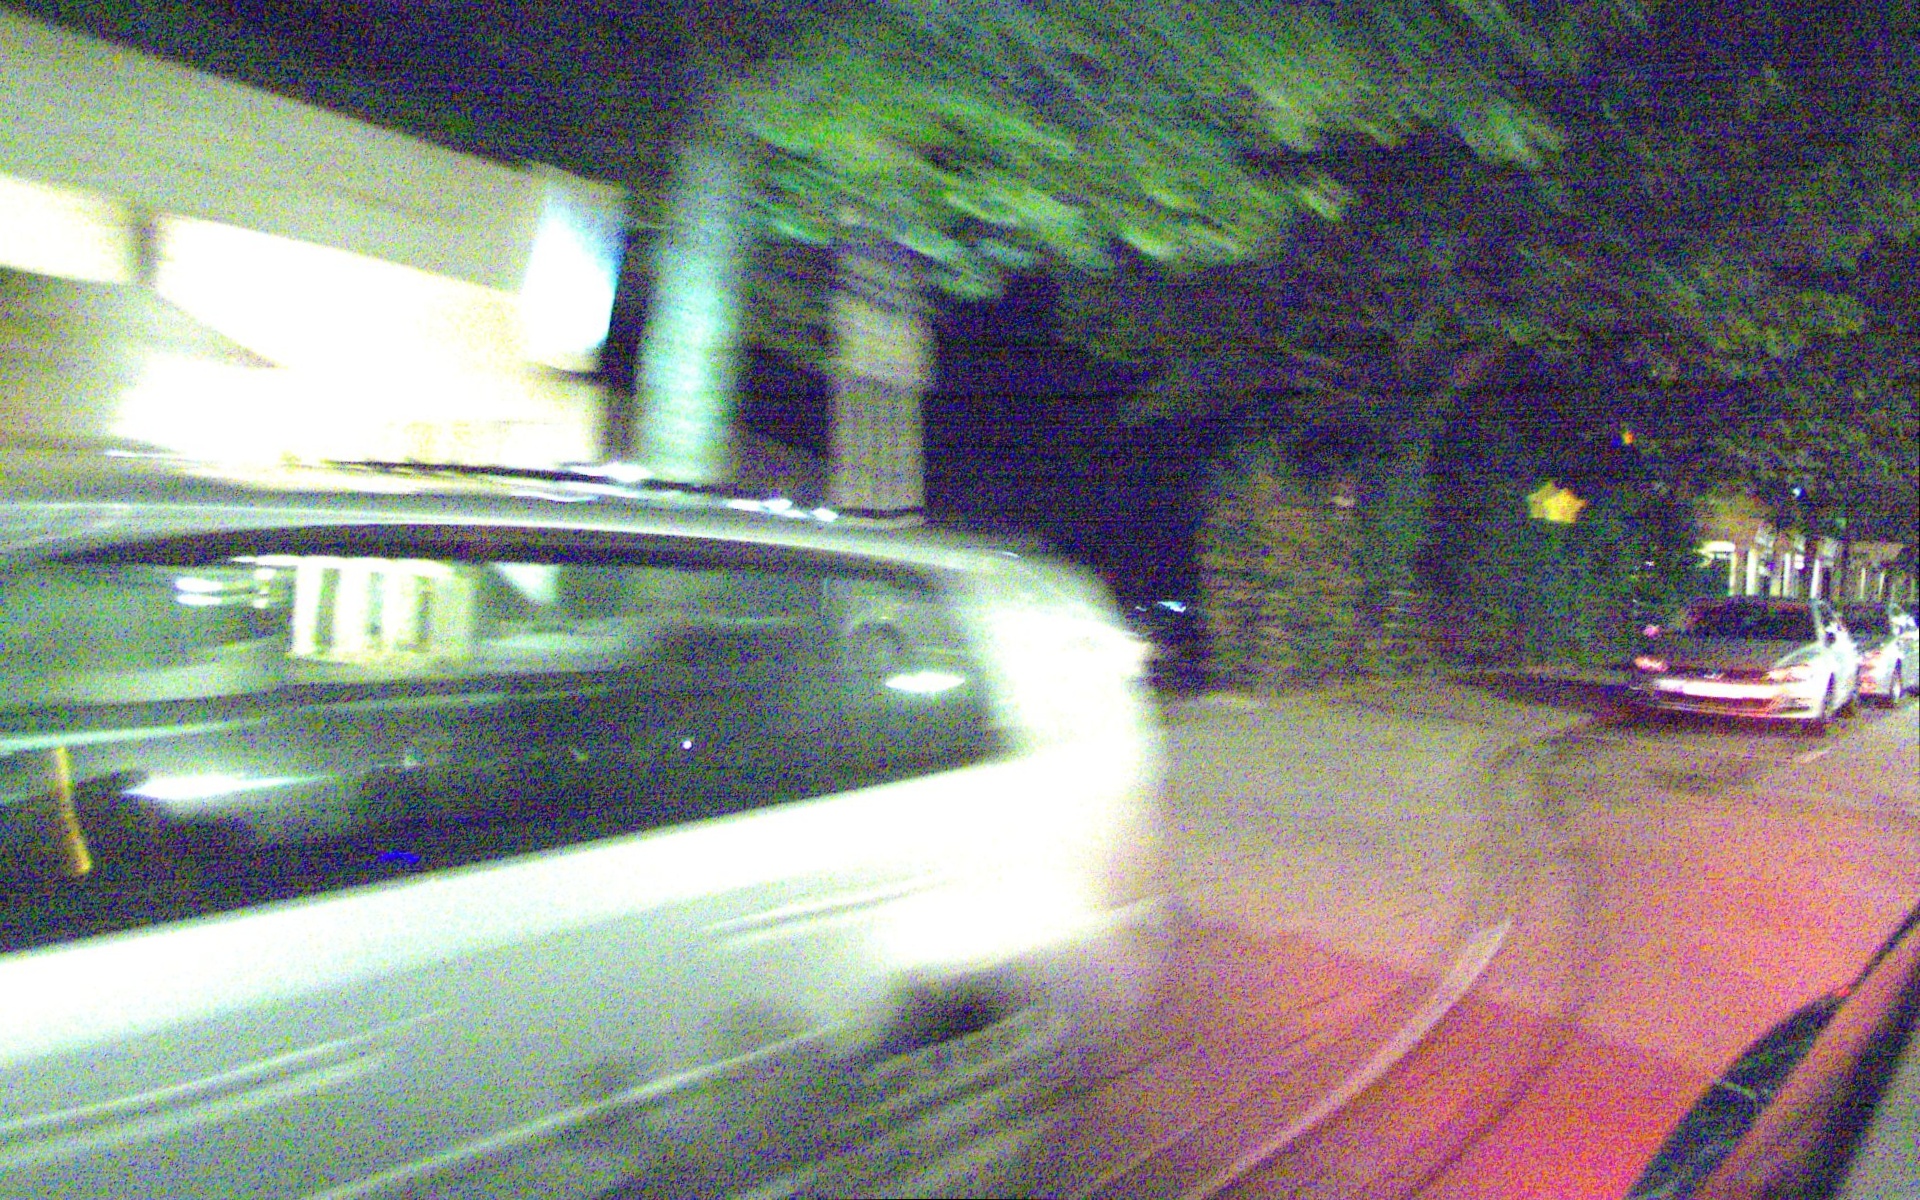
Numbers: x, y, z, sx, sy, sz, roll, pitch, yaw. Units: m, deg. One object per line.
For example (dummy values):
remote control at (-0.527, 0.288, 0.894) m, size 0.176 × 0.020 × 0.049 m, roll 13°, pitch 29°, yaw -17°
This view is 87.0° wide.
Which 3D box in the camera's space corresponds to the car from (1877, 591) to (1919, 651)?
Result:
car at (25.121, 0.517, 26.234) m, size 3.711 × 1.485 × 1.641 m, roll 0°, pitch 1°, yaw -42°

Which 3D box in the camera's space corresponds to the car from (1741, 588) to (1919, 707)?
car at (13.065, 0.577, 14.749) m, size 4.529 × 1.465 × 1.680 m, roll 0°, pitch 1°, yaw -39°

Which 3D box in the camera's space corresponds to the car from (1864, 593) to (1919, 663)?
car at (21.501, 0.583, 22.472) m, size 4.366 × 1.433 × 1.764 m, roll 0°, pitch 2°, yaw -44°

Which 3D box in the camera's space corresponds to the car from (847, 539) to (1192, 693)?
car at (0.766, 0.110, 12.738) m, size 4.016 × 1.604 × 1.697 m, roll 3°, pitch 3°, yaw 19°

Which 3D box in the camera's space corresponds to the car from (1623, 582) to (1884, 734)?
car at (9.426, 0.542, 11.891) m, size 4.217 × 1.455 × 1.782 m, roll 0°, pitch 1°, yaw -43°

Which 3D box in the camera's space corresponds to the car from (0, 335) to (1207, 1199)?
car at (-1.636, 0.481, 1.769) m, size 4.303 × 1.661 × 1.791 m, roll 0°, pitch 4°, yaw -41°
